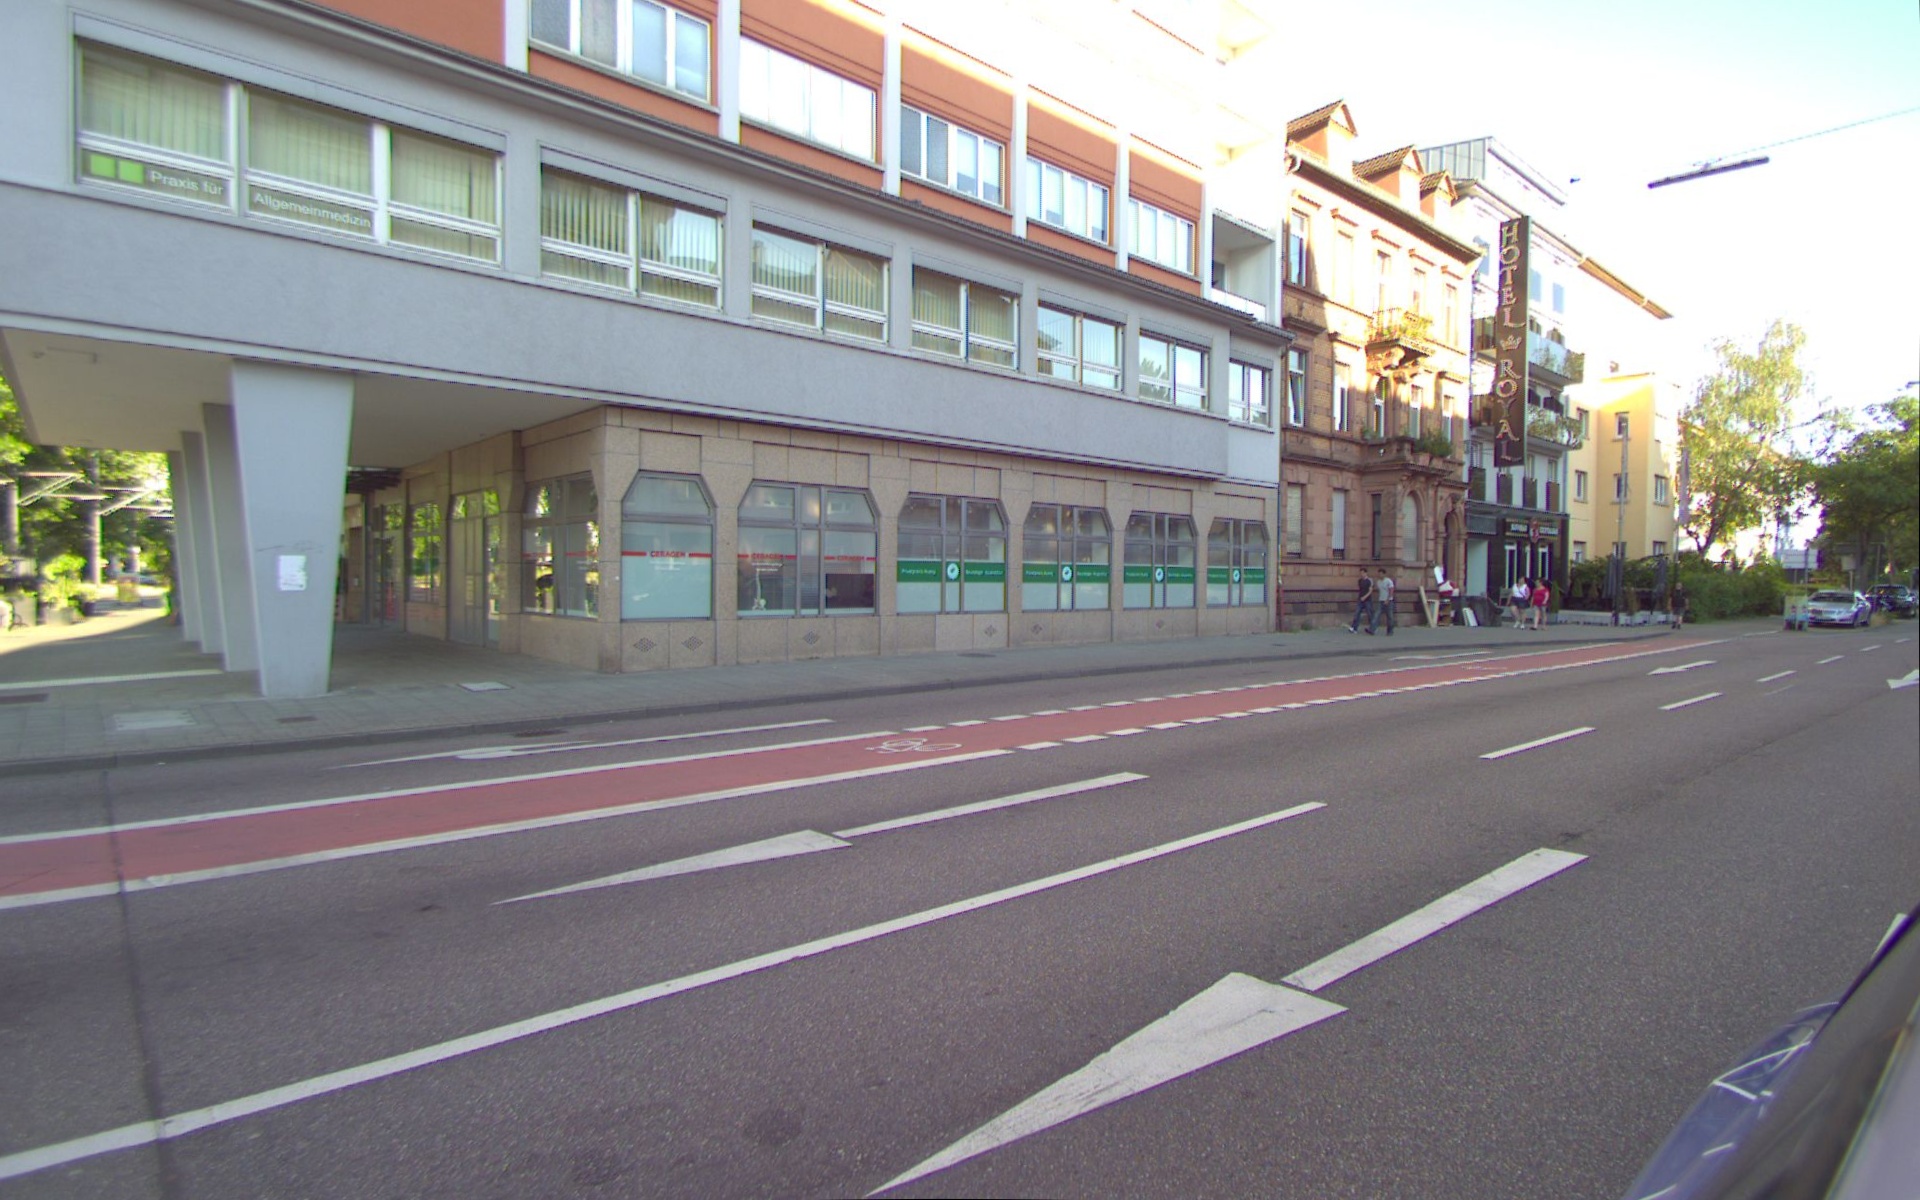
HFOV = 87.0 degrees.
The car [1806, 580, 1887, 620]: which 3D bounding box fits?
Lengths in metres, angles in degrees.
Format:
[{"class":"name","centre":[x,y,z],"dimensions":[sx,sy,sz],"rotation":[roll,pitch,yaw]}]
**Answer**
[{"class":"car","centre":[36.052,-0.037,41.128],"dimensions":[4.003,1.536,1.905],"rotation":[-1,2,-41]}]

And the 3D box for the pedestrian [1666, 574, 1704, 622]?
[{"class":"pedestrian","centre":[25.586,-0.081,35.720],"dimensions":[0.992,1.621,0.739],"rotation":[0,4,-37]}]

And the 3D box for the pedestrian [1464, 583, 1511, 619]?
[{"class":"pedestrian","centre":[17.086,0.023,32.785],"dimensions":[0.909,1.150,1.099],"rotation":[0,1,-43]}]

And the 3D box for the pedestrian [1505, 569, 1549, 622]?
[{"class":"pedestrian","centre":[18.092,-0.164,32.292],"dimensions":[0.992,1.606,0.787],"rotation":[0,5,-37]}]

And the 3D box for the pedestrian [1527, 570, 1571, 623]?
[{"class":"pedestrian","centre":[18.498,-0.124,31.780],"dimensions":[0.992,1.606,0.739],"rotation":[0,5,-37]}]

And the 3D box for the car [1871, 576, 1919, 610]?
[{"class":"car","centre":[47.793,-0.398,51.281],"dimensions":[4.121,1.645,1.946],"rotation":[-1,2,-41]}]

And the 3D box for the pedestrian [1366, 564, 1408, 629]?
[{"class":"pedestrian","centre":[11.721,-0.116,27.775],"dimensions":[0.993,1.747,0.667],"rotation":[0,1,-41]}]

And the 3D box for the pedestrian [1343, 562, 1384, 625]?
[{"class":"pedestrian","centre":[11.334,-0.198,28.404],"dimensions":[0.993,1.747,0.667],"rotation":[0,1,-41]}]
